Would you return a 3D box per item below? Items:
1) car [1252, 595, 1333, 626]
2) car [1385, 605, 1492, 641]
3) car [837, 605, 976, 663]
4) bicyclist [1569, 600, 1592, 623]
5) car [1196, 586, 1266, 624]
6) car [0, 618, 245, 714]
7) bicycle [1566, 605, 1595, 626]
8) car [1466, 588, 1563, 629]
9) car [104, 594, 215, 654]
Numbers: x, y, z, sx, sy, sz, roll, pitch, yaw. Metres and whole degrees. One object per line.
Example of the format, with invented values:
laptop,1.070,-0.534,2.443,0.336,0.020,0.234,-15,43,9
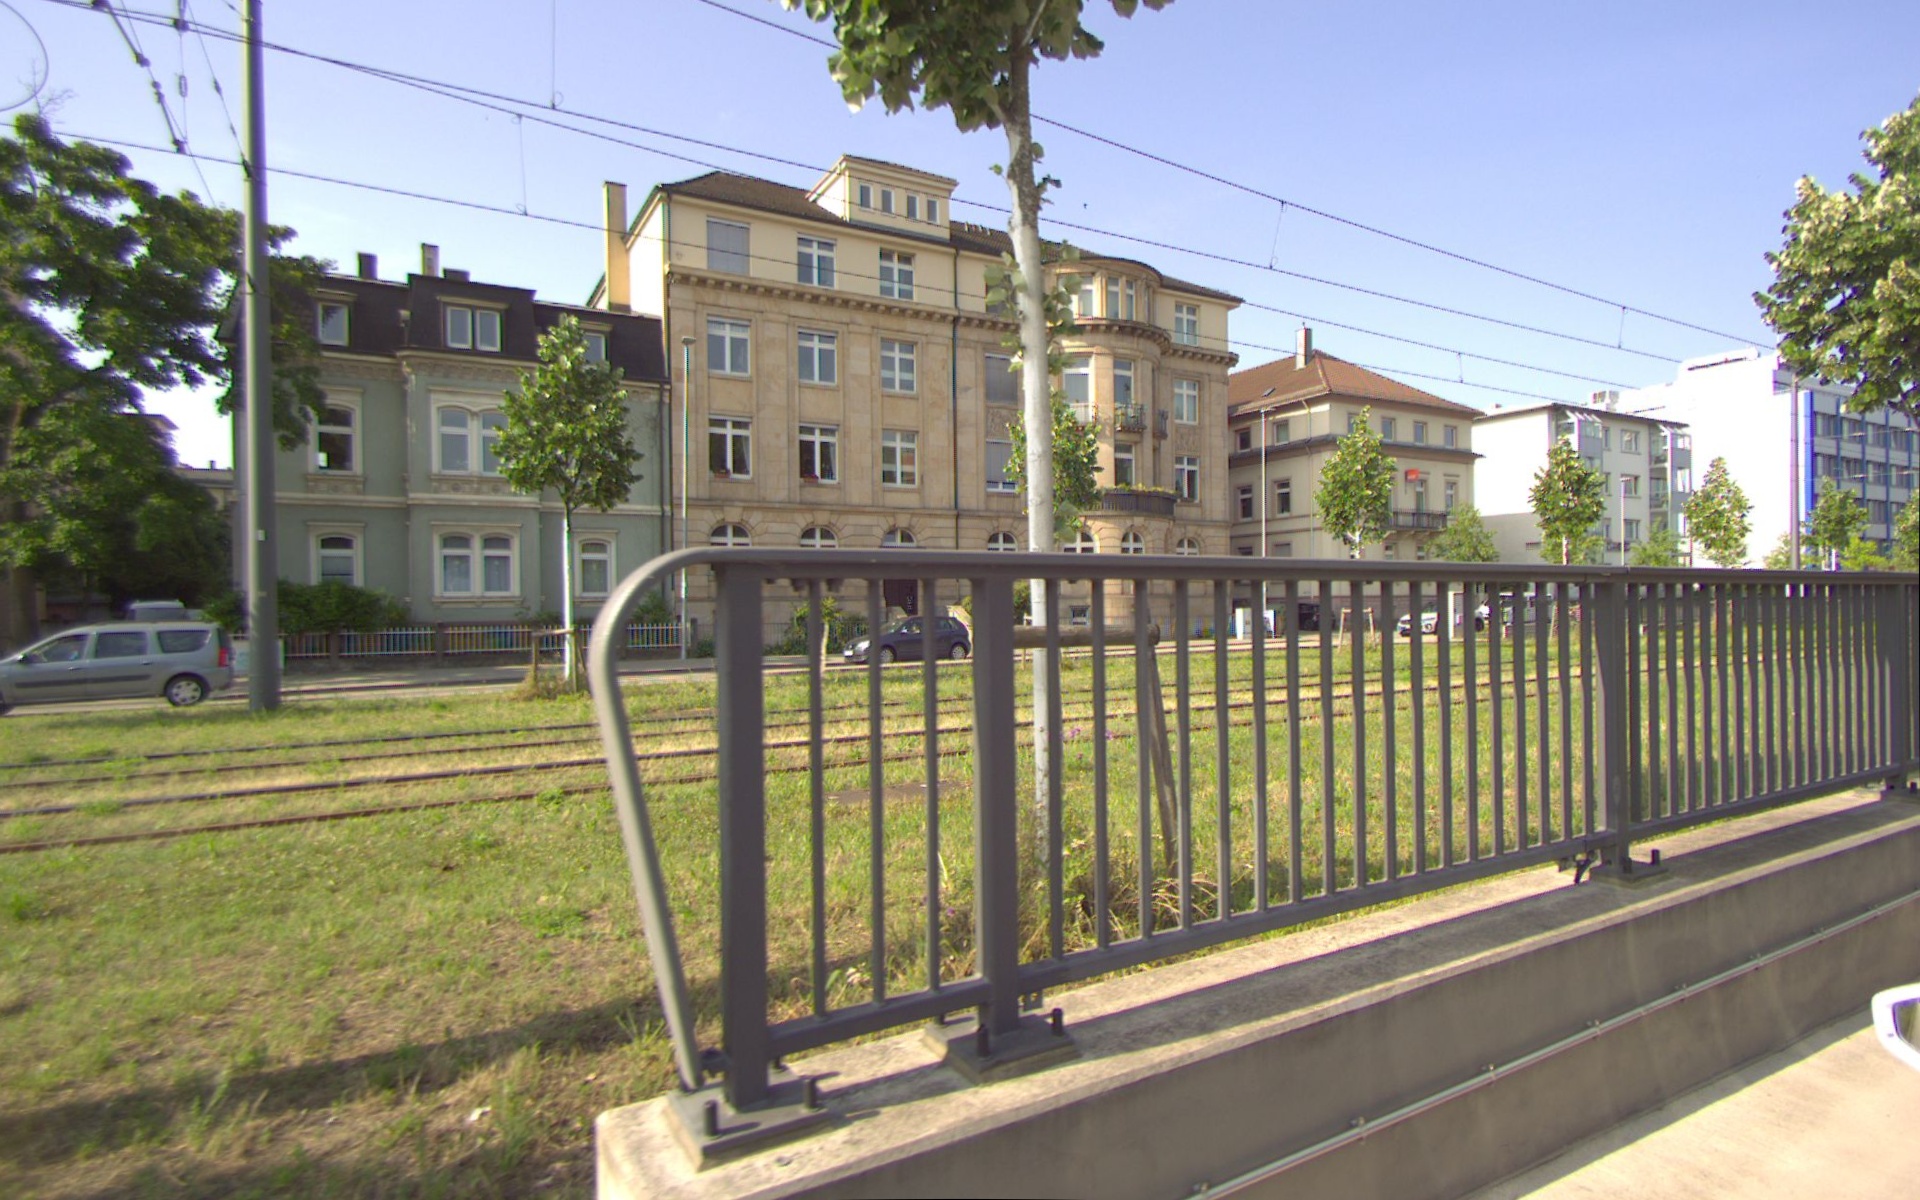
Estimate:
car,17.664,0.583,53.565,1.636,1.572,3.964,-1,-1,-33
car,20.507,0.977,43.007,4.385,1.486,1.984,1,-1,-30
car,-1.536,0.953,29.245,3.781,1.483,1.510,-2,0,-32
bicyclist,32.846,0.599,53.155,1.237,1.194,0.529,0,2,-32
car,15.568,0.271,57.900,1.581,2.041,3.905,1,1,-29
car,-16.247,1.182,18.937,4.484,1.598,1.980,0,-1,-36
bicycle,32.821,0.811,53.152,1.855,1.107,0.529,1,1,-32
car,29.670,0.446,53.724,5.204,2.040,2.237,1,1,-32
car,-25.857,0.755,32.608,2.140,1.772,4.607,-1,-1,-30
